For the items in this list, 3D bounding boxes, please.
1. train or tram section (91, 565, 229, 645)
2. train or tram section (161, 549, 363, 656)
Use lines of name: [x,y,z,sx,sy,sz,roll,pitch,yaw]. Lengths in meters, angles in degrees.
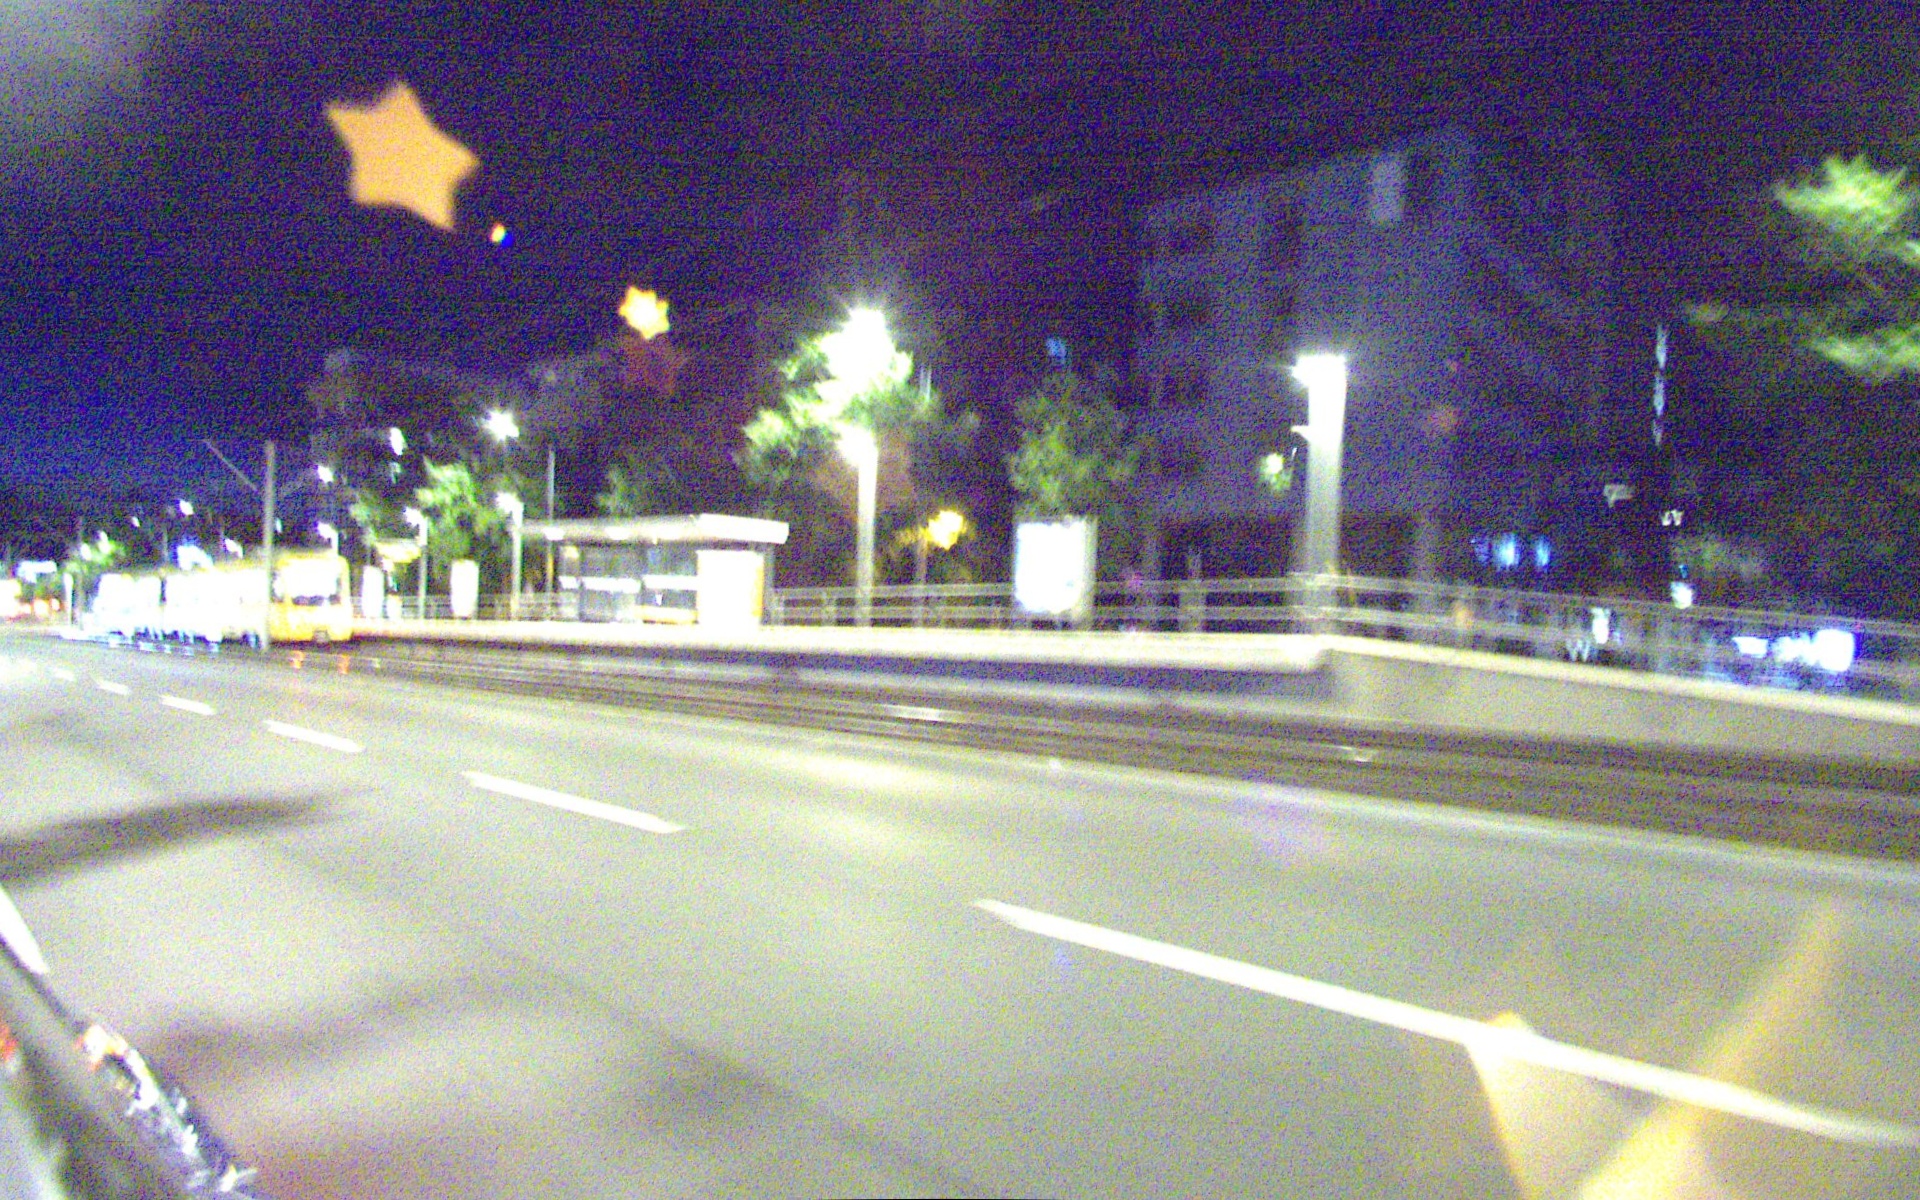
train or tram section: [-44.730,0.330,56.139,19.357,3.875,2.709,-1,-1,42]
train or tram section: [-30.513,0.165,43.510,18.662,3.856,2.730,-1,-1,41]
